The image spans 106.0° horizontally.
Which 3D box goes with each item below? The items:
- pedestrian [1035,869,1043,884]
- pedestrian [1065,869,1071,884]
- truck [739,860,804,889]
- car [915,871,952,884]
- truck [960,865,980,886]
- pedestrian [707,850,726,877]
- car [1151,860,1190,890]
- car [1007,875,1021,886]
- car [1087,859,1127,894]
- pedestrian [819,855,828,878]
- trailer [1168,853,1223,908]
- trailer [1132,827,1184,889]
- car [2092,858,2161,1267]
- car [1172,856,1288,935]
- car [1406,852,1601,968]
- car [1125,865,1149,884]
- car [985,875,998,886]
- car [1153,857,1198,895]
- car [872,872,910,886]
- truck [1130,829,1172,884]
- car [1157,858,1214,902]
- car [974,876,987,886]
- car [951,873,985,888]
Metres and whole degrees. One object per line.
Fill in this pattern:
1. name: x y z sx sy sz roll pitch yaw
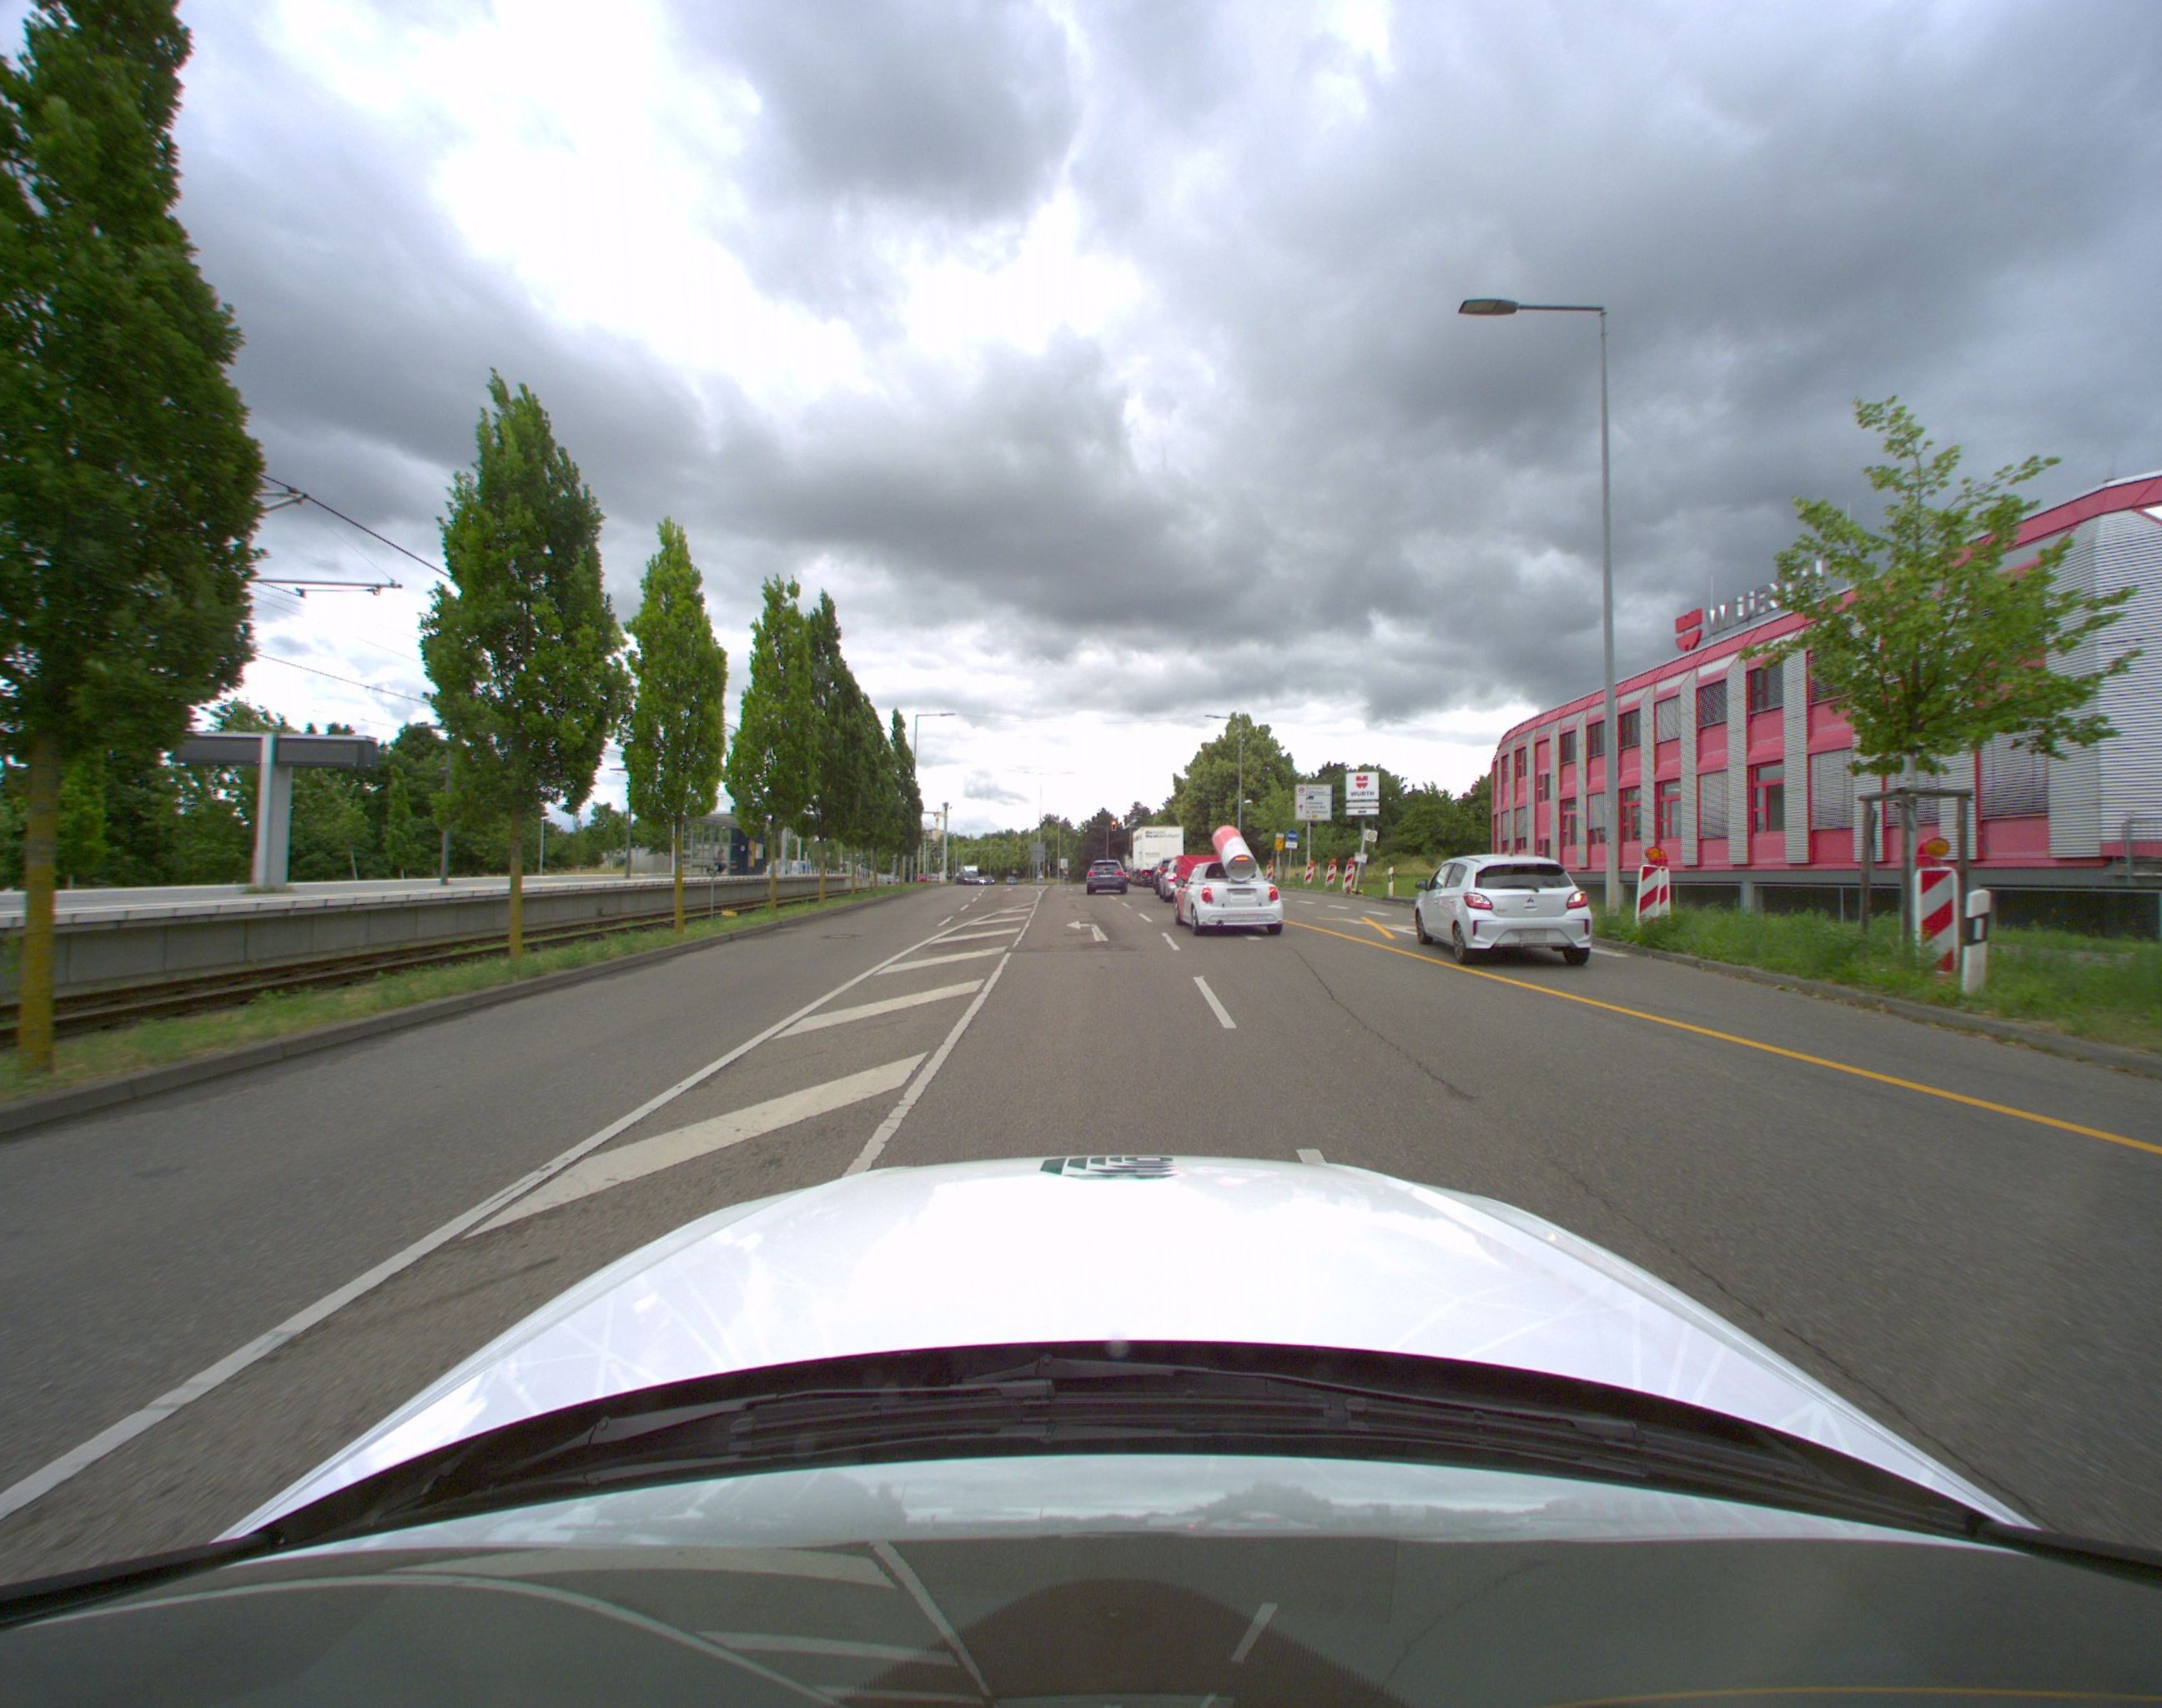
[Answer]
1. pedestrian: -4.402 2.390 85.833 0.862 1.560 0.517 -1 1 -3
2. pedestrian: -1.443 2.393 87.990 0.585 1.621 0.423 -1 1 -3
3. truck: -39.704 2.617 104.580 7.210 3.598 2.694 -1 1 2
4. car: -17.517 2.835 96.667 4.036 1.488 1.717 -1 -2 24
5. truck: -20.022 3.816 146.963 2.663 3.649 9.458 1 -1 -13
6. pedestrian: -17.338 0.446 38.709 0.609 1.269 0.658 -1 1 -6
7. car: 4.708 1.096 43.287 1.701 1.524 4.321 -1 -1 2
8. car: -11.421 4.527 138.911 1.910 1.576 4.000 0 1 0
9. car: 1.135 0.990 37.467 1.692 1.486 4.000 -1 0 0
10. pedestrian: -20.776 1.036 65.691 0.571 1.828 0.792 0 -2 -5
11. trailer: 3.560 0.798 25.798 1.403 1.594 3.305 -1 -1 2
12. trailer: 4.907 0.198 53.121 2.558 3.705 7.763 -1 1 0
13. car: 4.401 0.725 0.814 1.825 1.432 4.289 -1 0 8
14. car: 2.984 0.795 17.020 1.713 1.457 3.695 -1 -1 0
15. car: 6.101 0.724 12.222 1.613 1.457 3.700 0 -1 11
16. car: 4.549 1.668 66.527 1.805 1.354 4.119 -2 0 1
17. car: -15.931 4.750 145.069 1.911 1.729 3.994 0 -7 -2
18. car: 4.199 0.947 36.806 1.836 1.561 4.410 -1 -1 5
19. car: -23.011 3.033 98.568 3.965 1.596 2.005 -1 1 7
20. truck: 4.896 0.143 57.359 2.563 3.705 4.105 -1 1 0
21. car: 3.729 0.910 29.693 1.665 1.447 4.492 -1 -1 3
22. car: -17.017 4.609 138.342 1.770 1.508 3.744 -2 0 -1
23. car: -12.533 2.946 89.966 3.659 1.574 1.741 -2 -3 41
